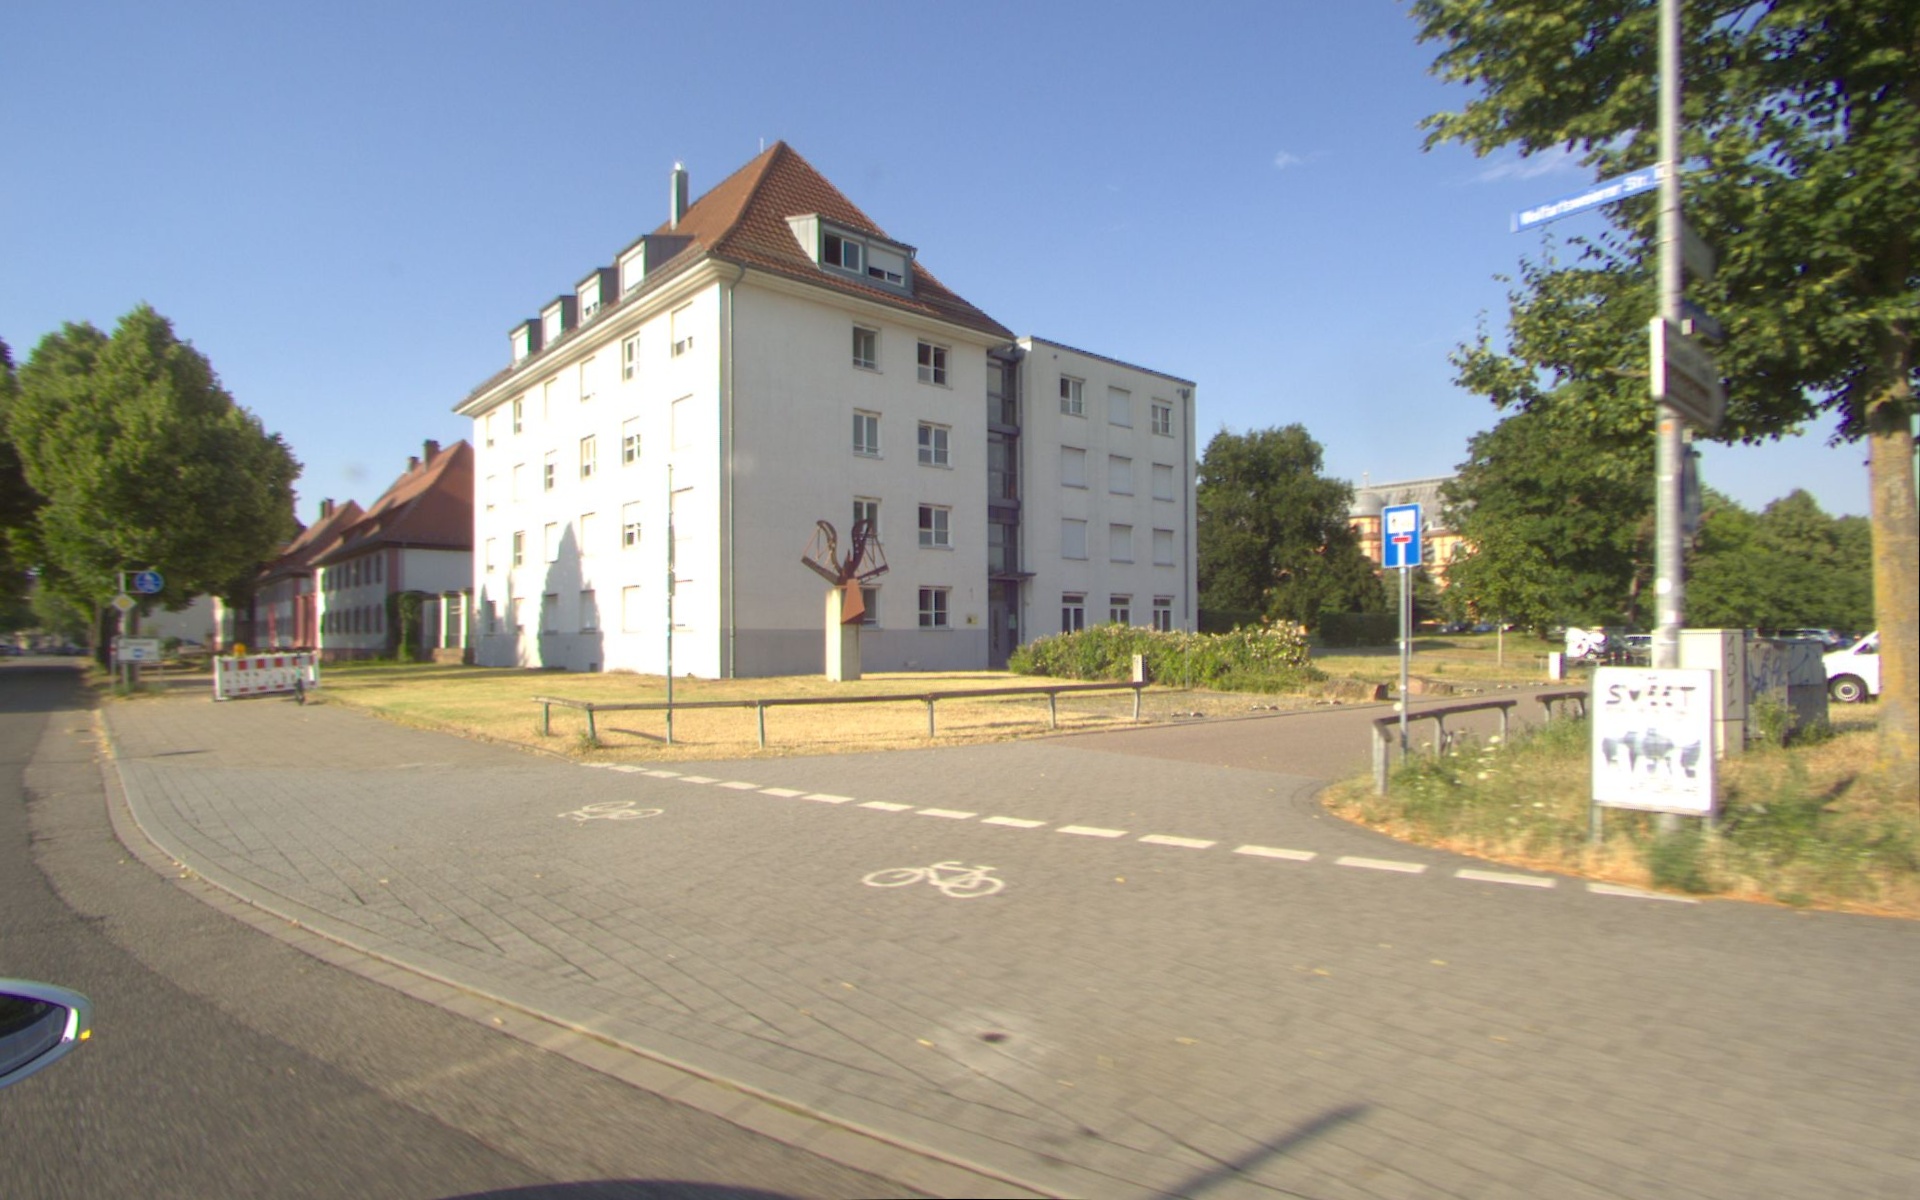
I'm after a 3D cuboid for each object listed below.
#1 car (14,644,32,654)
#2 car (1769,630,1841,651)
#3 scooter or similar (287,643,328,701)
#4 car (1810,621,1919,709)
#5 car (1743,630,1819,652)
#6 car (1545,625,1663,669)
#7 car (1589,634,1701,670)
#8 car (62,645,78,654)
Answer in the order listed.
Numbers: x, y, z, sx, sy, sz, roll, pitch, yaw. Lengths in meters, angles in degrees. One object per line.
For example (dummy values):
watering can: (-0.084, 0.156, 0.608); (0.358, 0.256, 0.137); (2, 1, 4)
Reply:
car: (-158.027, 8.291, 168.825); (3.959, 1.709, 1.983); (-3, -3, 43)
car: (64.036, 3.038, 75.883); (1.980, 1.549, 3.963); (1, -2, -43)
scooter or similar: (-15.616, 1.710, 23.954); (0.554, 1.309, 1.450); (-3, 0, -41)
car: (23.591, 1.496, 23.561); (2.245, 2.039, 5.176); (1, -3, -41)
car: (58.348, 2.889, 71.191); (1.980, 1.549, 3.963); (1, -2, -43)
car: (27.792, 2.021, 43.313); (1.874, 1.816, 3.963); (1, -2, -43)
car: (31.711, 2.381, 46.411); (1.980, 1.549, 3.963); (1, -2, -43)
car: (-152.546, 8.520, 171.598); (3.960, 1.505, 1.704); (-3, -2, 44)
